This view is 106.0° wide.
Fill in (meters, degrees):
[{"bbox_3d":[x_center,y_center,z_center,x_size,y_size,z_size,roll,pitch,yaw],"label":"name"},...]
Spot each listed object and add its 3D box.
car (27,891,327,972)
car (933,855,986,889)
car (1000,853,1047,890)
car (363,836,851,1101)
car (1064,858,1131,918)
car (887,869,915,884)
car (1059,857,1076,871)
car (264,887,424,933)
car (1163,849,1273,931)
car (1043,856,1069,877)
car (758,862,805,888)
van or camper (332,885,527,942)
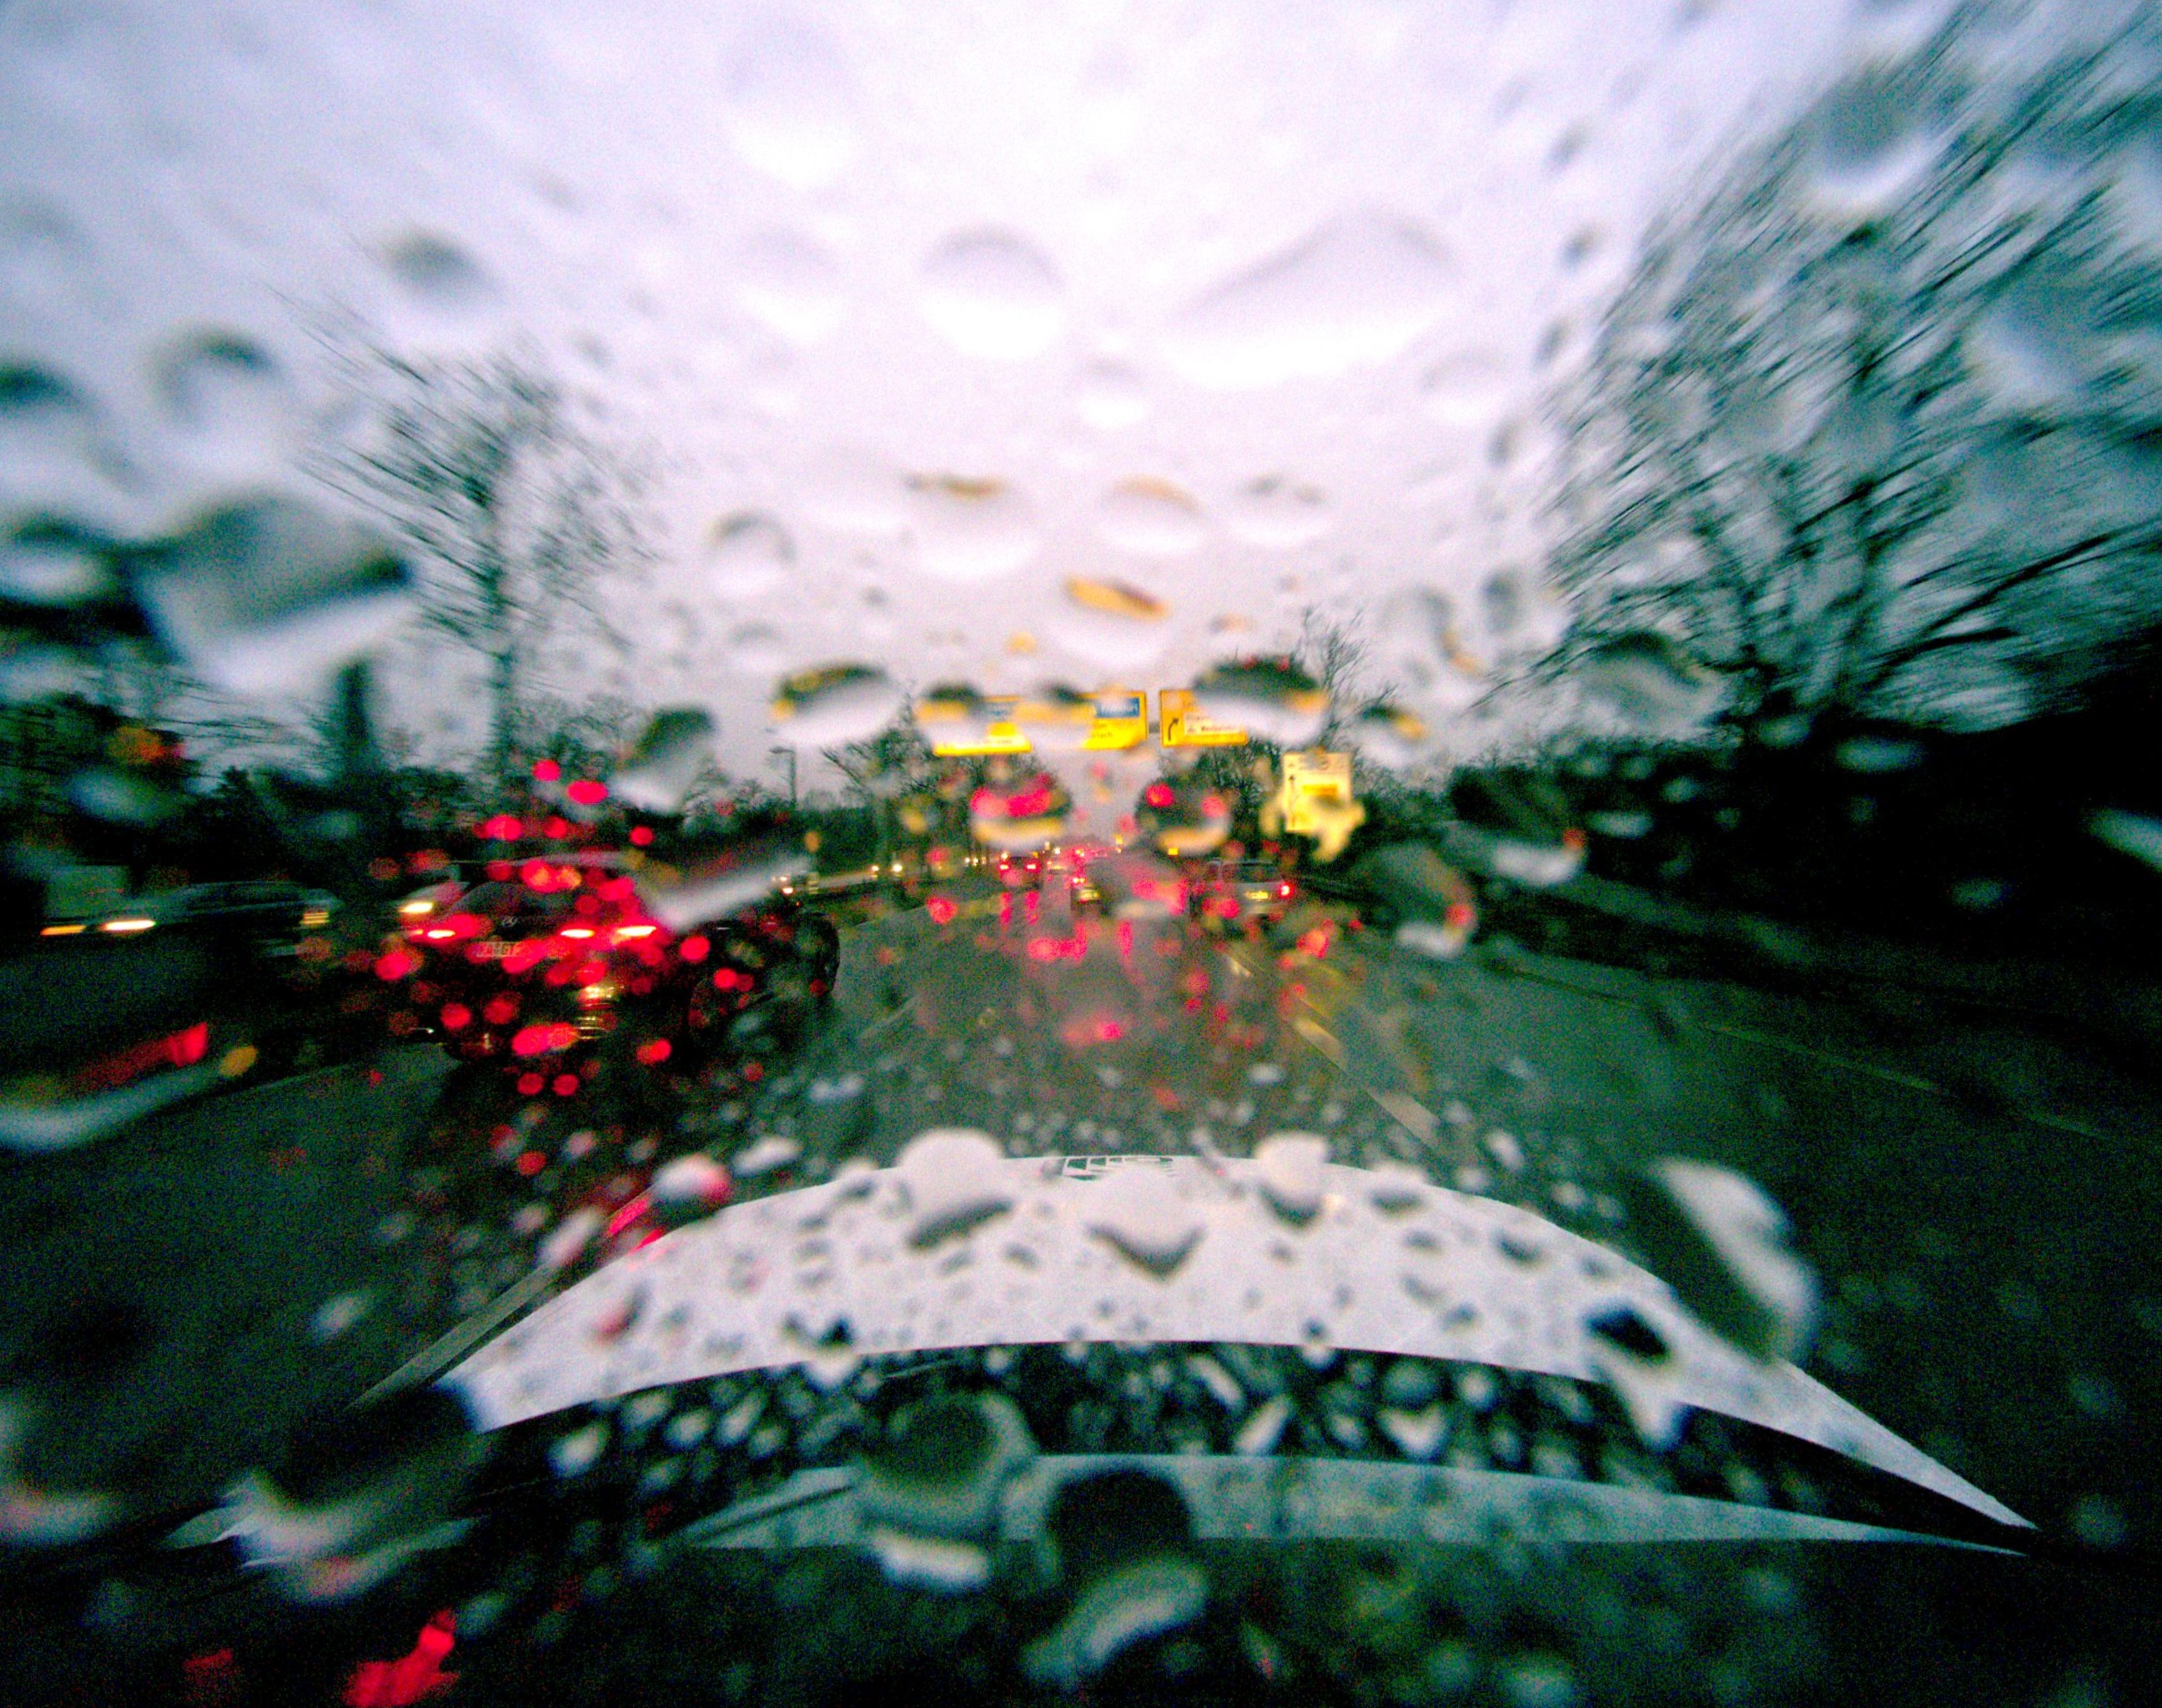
[{"bbox_3d":[-20.478,1.682,18.812,1.897,1.446,4.443,-1,-1,1],"label":"car"},{"bbox_3d":[-6.160,0.904,41.762,1.986,1.597,4.001,-2,-1,1],"label":"car"},{"bbox_3d":[-2.718,0.827,39.521,1.815,1.648,4.002,-2,-1,2],"label":"car"},{"bbox_3d":[-3.701,0.762,7.504,1.816,1.648,4.466,-2,-1,0],"label":"car"},{"bbox_3d":[0.537,0.982,24.673,1.815,1.648,4.468,0,-1,2],"label":"car"},{"bbox_3d":[-17.928,2.251,81.233,1.745,1.308,4.316,-1,0,1],"label":"car"},{"bbox_3d":[-1.416,1.052,87.266,1.499,1.339,4.002,-2,-1,2],"label":"car"},{"bbox_3d":[-27.501,2.047,30.618,1.897,1.446,4.443,-1,-1,1],"label":"car"},{"bbox_3d":[2.998,0.761,18.741,1.926,1.648,4.468,0,-1,2],"label":"car"},{"bbox_3d":[-1.994,1.004,66.227,1.815,1.648,4.002,-2,-1,2],"label":"car"},{"bbox_3d":[-19.824,1.387,54.075,1.779,1.627,3.574,-1,0,0],"label":"car"},{"bbox_3d":[-20.276,1.780,25.737,1.897,1.446,5.159,-1,-1,1],"label":"van or camper"}]
